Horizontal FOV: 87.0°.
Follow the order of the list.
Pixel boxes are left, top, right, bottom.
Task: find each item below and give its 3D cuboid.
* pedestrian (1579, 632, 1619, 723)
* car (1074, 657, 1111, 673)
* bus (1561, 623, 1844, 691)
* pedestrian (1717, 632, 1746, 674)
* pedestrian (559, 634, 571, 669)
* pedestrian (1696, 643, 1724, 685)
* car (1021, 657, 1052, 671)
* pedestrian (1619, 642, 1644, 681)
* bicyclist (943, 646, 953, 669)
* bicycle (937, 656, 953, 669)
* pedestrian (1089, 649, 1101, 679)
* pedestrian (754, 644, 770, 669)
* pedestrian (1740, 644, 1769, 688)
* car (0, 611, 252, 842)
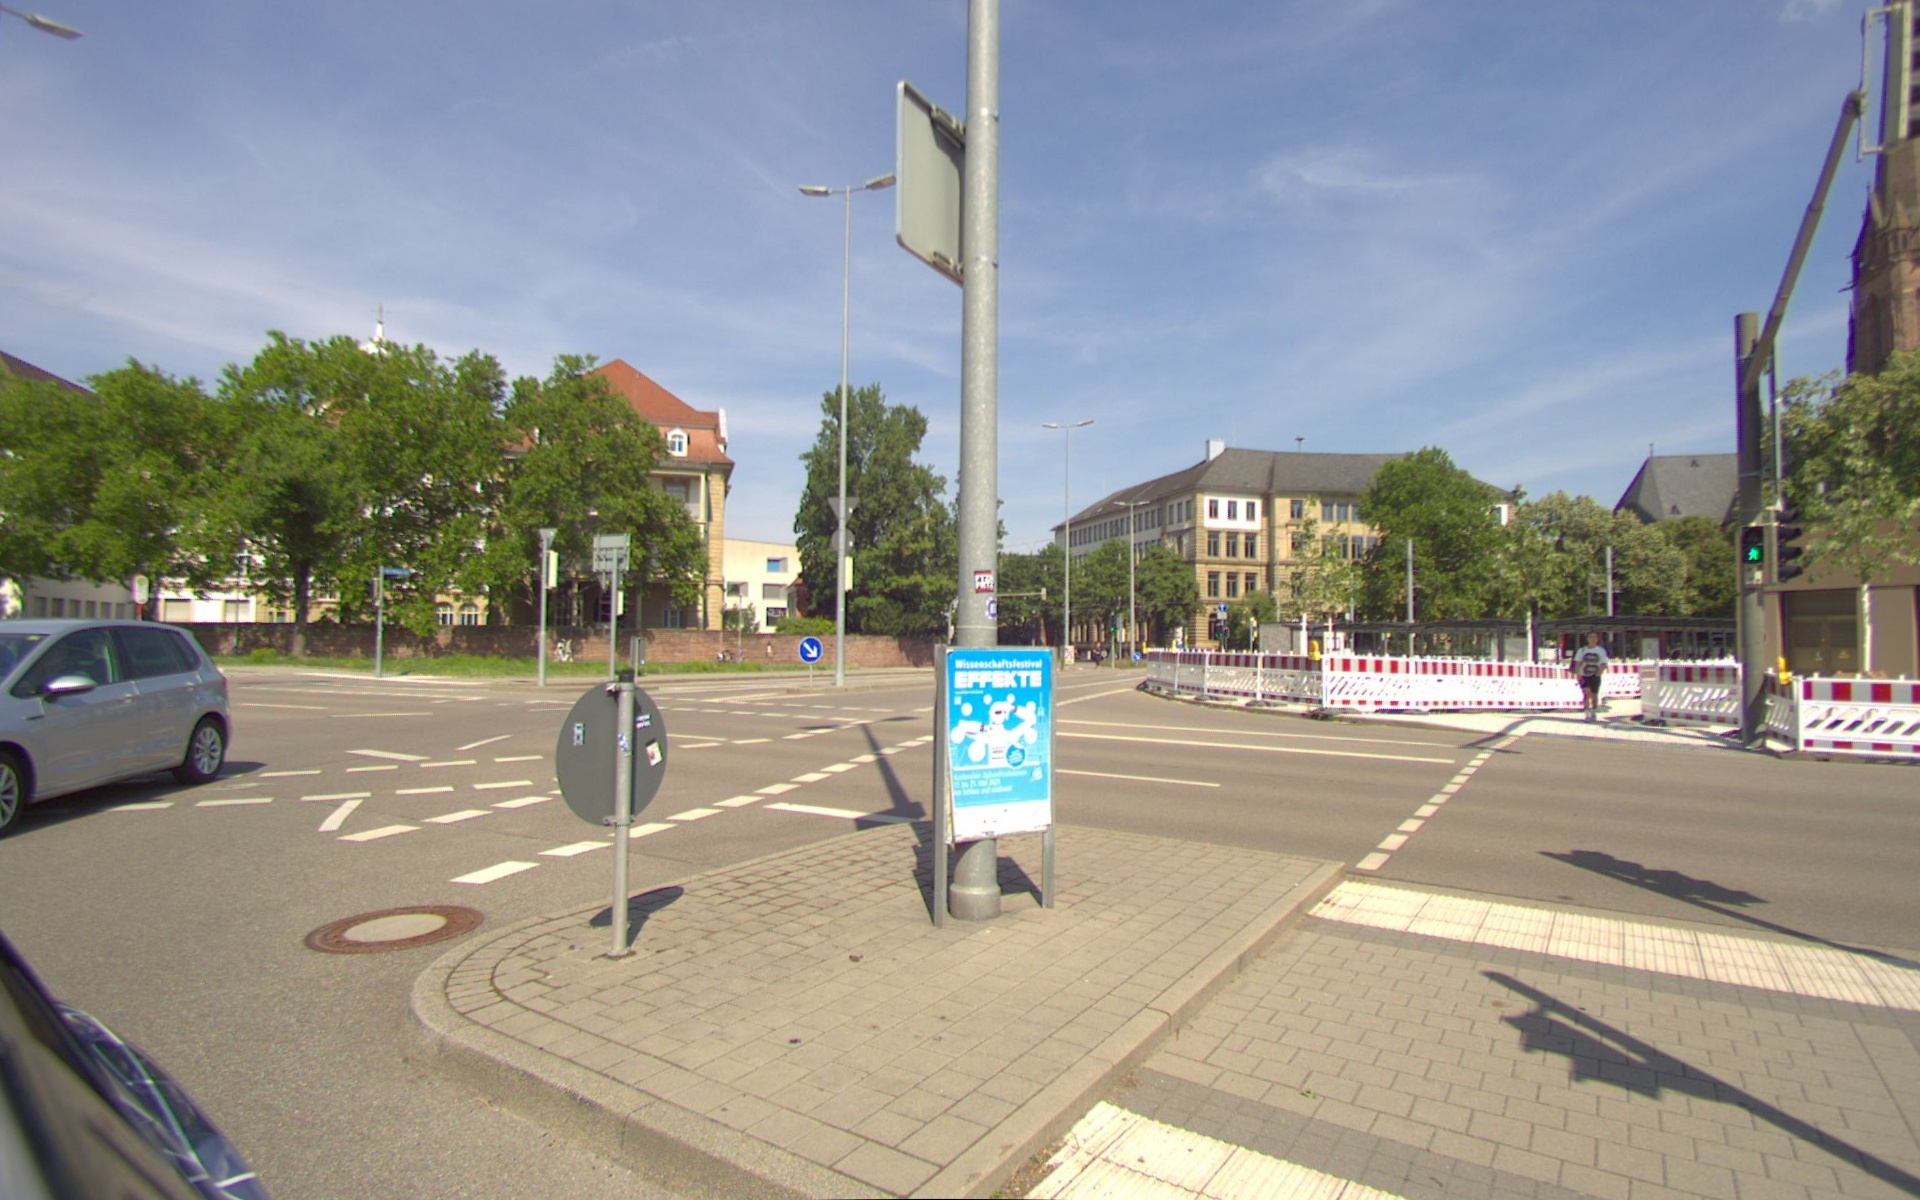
[{"bbox_3d":[11.355,1.370,17.987,0.557,1.577,0.418,-2,-4,35],"label":"pedestrian"},{"bbox_3d":[16.058,7.858,122.862,3.932,1.674,2.006,-1,-1,-17],"label":"car"},{"bbox_3d":[38.709,3.111,53.814,3.079,3.118,12.450,0,-4,-18],"label":"bus"},{"bbox_3d":[37.273,2.547,48.901,0.807,2.029,0.688,1,-3,-12],"label":"pedestrian"},{"bbox_3d":[-23.489,3.066,60.190,0.586,2.029,0.525,2,-3,-23],"label":"pedestrian"},{"bbox_3d":[36.880,3.126,49.773,0.807,2.029,0.688,2,-3,-12],"label":"pedestrian"},{"bbox_3d":[10.696,8.963,141.562,3.931,1.674,2.006,-1,-1,-18],"label":"car"},{"bbox_3d":[35.437,3.252,53.404,0.806,2.029,0.688,2,-3,-16],"label":"pedestrian"},{"bbox_3d":[-0.888,4.193,74.231,0.483,1.649,1.079,0,-3,15],"label":"bicyclist"},{"bbox_3d":[-1.100,4.538,73.584,0.679,0.894,1.922,0,-3,16],"label":"bicycle"},{"bbox_3d":[9.159,4.337,68.705,0.785,2.029,0.615,0,-4,3],"label":"pedestrian"},{"bbox_3d":[-12.713,3.626,64.982,0.898,1.560,0.505,2,-3,-18],"label":"pedestrian"},{"bbox_3d":[37.695,3.133,48.032,0.807,2.029,0.688,2,-3,-12],"label":"pedestrian"},{"bbox_3d":[-7.639,0.892,7.990,1.662,1.598,4.159,1,-2,-9],"label":"car"}]
